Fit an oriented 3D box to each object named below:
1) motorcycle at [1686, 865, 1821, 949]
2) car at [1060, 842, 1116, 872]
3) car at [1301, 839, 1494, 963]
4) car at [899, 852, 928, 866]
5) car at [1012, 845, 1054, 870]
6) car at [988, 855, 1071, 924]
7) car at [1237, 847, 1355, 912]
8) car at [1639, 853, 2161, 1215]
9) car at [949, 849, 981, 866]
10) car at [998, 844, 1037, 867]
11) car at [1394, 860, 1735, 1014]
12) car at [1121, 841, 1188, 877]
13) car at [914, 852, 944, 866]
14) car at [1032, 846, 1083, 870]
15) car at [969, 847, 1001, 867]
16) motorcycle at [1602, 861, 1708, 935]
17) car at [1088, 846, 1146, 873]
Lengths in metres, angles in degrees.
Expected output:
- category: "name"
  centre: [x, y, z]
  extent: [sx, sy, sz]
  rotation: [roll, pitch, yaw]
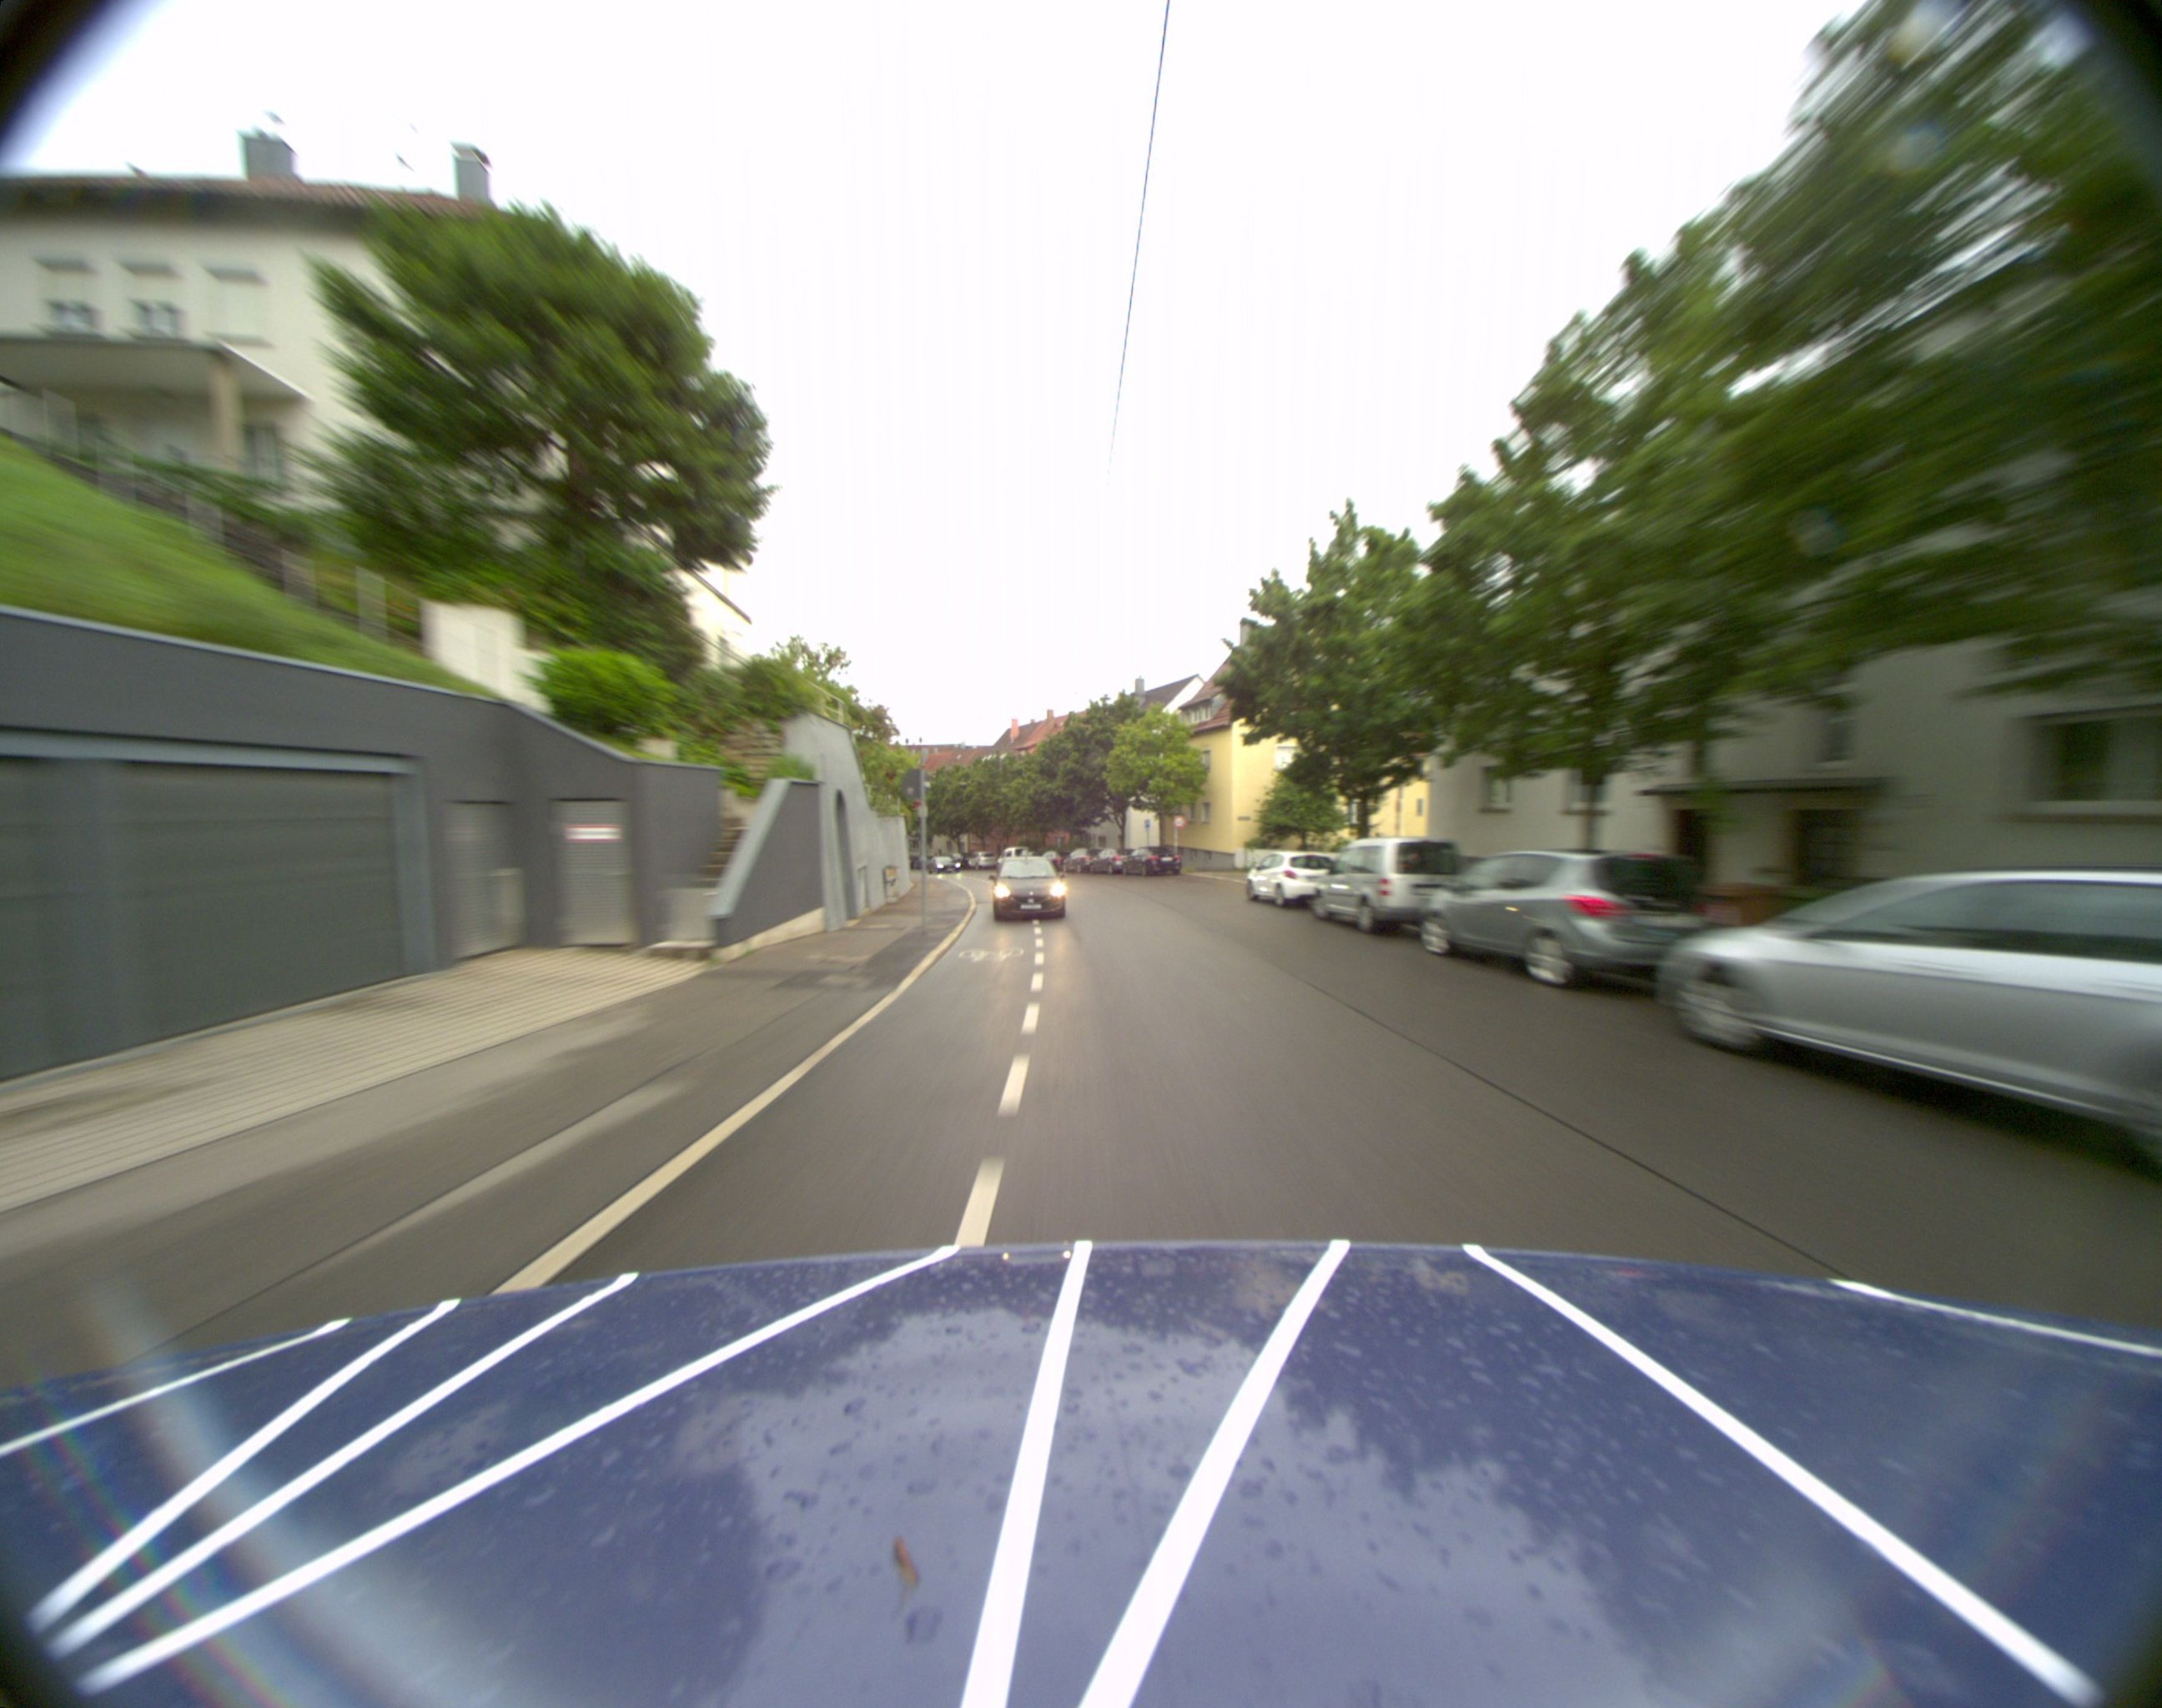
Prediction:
- category: "motorcycle"
  centre: [9.653, 0.722, 10.983]
  extent: [0.412, 1.092, 1.619]
  rotation: [0, 1, -5]
- category: "car"
  centre: [0.377, 0.163, 46.257]
  extent: [1.861, 1.680, 4.547]
  rotation: [-2, 1, -20]
- category: "car"
  centre: [6.114, 0.760, 15.340]
  extent: [1.919, 1.990, 4.546]
  rotation: [-2, 2, -1]
- category: "car"
  centre: [-19.914, 0.600, 90.171]
  extent: [1.796, 1.485, 4.350]
  rotation: [-4, 1, -35]
- category: "car"
  centre: [-3.667, 0.248, 57.225]
  extent: [1.861, 1.658, 4.579]
  rotation: [-3, 1, -20]
- category: "car"
  centre: [-1.181, 0.801, 19.014]
  extent: [1.698, 1.456, 4.000]
  rotation: [-1, 1, 1]
- category: "car"
  centre: [5.919, 0.627, 21.487]
  extent: [1.789, 1.506, 4.342]
  rotation: [1, 2, -4]
- category: "car"
  centre: [5.704, 0.831, 4.202]
  extent: [1.809, 1.445, 4.594]
  rotation: [-2, 2, -1]
- category: "car"
  centre: [-11.557, 0.345, 75.627]
  extent: [1.795, 1.632, 4.470]
  rotation: [-3, 1, -26]
- category: "car"
  centre: [-5.254, 0.120, 62.454]
  extent: [1.862, 1.766, 4.474]
  rotation: [-3, 1, -22]
- category: "car"
  centre: [6.111, 0.918, 10.347]
  extent: [1.809, 1.477, 4.233]
  rotation: [1, 2, -2]
- category: "car"
  centre: [3.512, 0.194, 37.183]
  extent: [1.781, 1.532, 4.510]
  rotation: [-3, 2, -15]
- category: "car"
  centre: [-17.137, 0.578, 85.652]
  extent: [1.795, 1.485, 4.850]
  rotation: [-4, 1, -30]
- category: "car"
  centre: [-1.687, 0.262, 52.515]
  extent: [1.862, 1.490, 4.731]
  rotation: [-4, 1, -24]
- category: "car"
  centre: [-8.943, 0.300, 70.571]
  extent: [1.754, 1.680, 4.591]
  rotation: [-3, 1, -23]
- category: "motorcycle"
  centre: [9.497, 0.694, 12.638]
  extent: [0.431, 1.114, 1.619]
  rotation: [0, 1, -5]
- category: "car"
  centre: [1.930, 0.296, 42.031]
  extent: [1.620, 1.389, 4.315]
  rotation: [-3, 1, -21]
